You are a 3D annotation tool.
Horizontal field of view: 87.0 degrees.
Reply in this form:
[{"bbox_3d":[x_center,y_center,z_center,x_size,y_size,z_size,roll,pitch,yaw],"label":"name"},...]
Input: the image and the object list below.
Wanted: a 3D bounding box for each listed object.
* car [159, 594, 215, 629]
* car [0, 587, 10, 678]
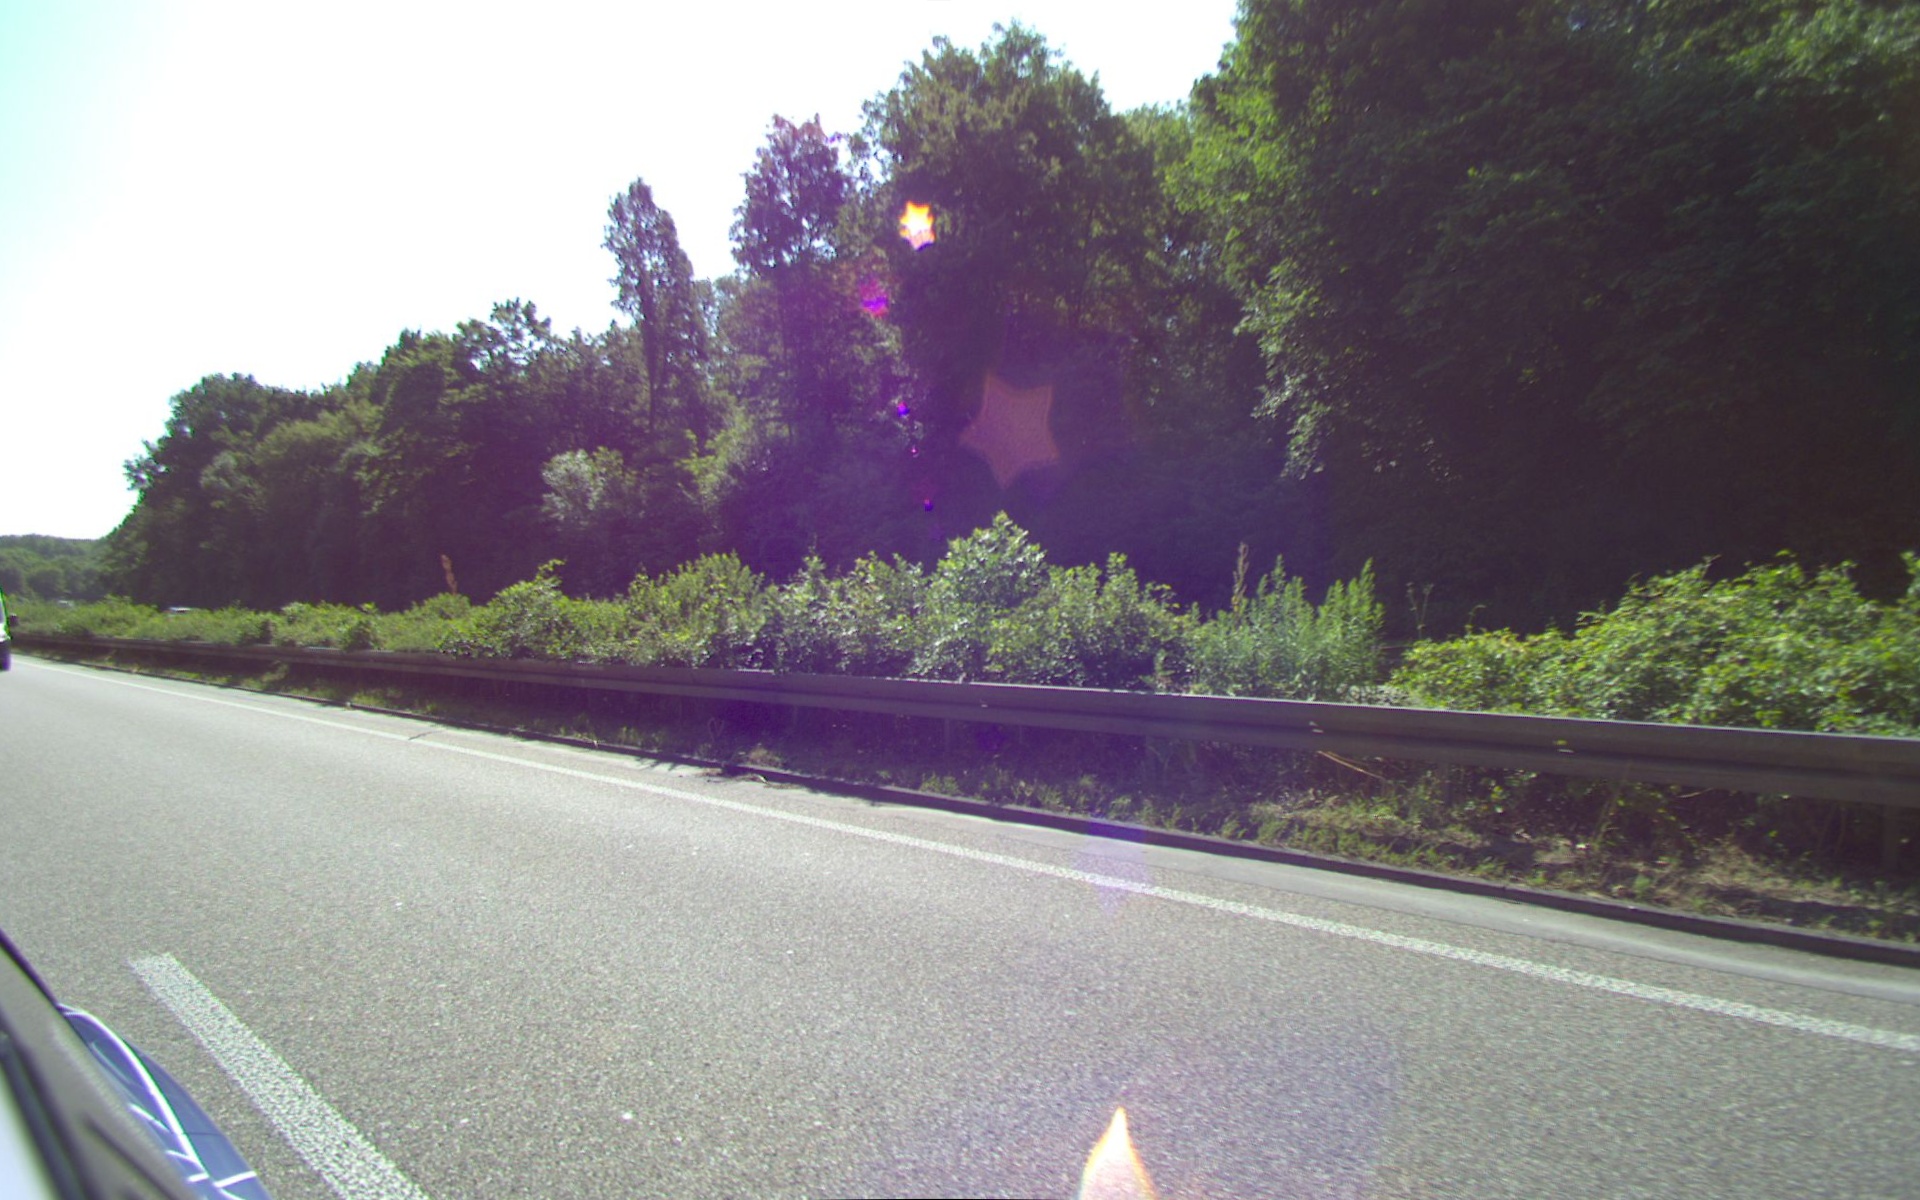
[{"bbox_3d":[-47.468,0.688,62.093,3.998,2.029,1.973,-1,0,41],"label":"car"},{"bbox_3d":[-28.306,0.907,28.360,4.636,2.462,2.020,-1,0,41],"label":"car"}]
